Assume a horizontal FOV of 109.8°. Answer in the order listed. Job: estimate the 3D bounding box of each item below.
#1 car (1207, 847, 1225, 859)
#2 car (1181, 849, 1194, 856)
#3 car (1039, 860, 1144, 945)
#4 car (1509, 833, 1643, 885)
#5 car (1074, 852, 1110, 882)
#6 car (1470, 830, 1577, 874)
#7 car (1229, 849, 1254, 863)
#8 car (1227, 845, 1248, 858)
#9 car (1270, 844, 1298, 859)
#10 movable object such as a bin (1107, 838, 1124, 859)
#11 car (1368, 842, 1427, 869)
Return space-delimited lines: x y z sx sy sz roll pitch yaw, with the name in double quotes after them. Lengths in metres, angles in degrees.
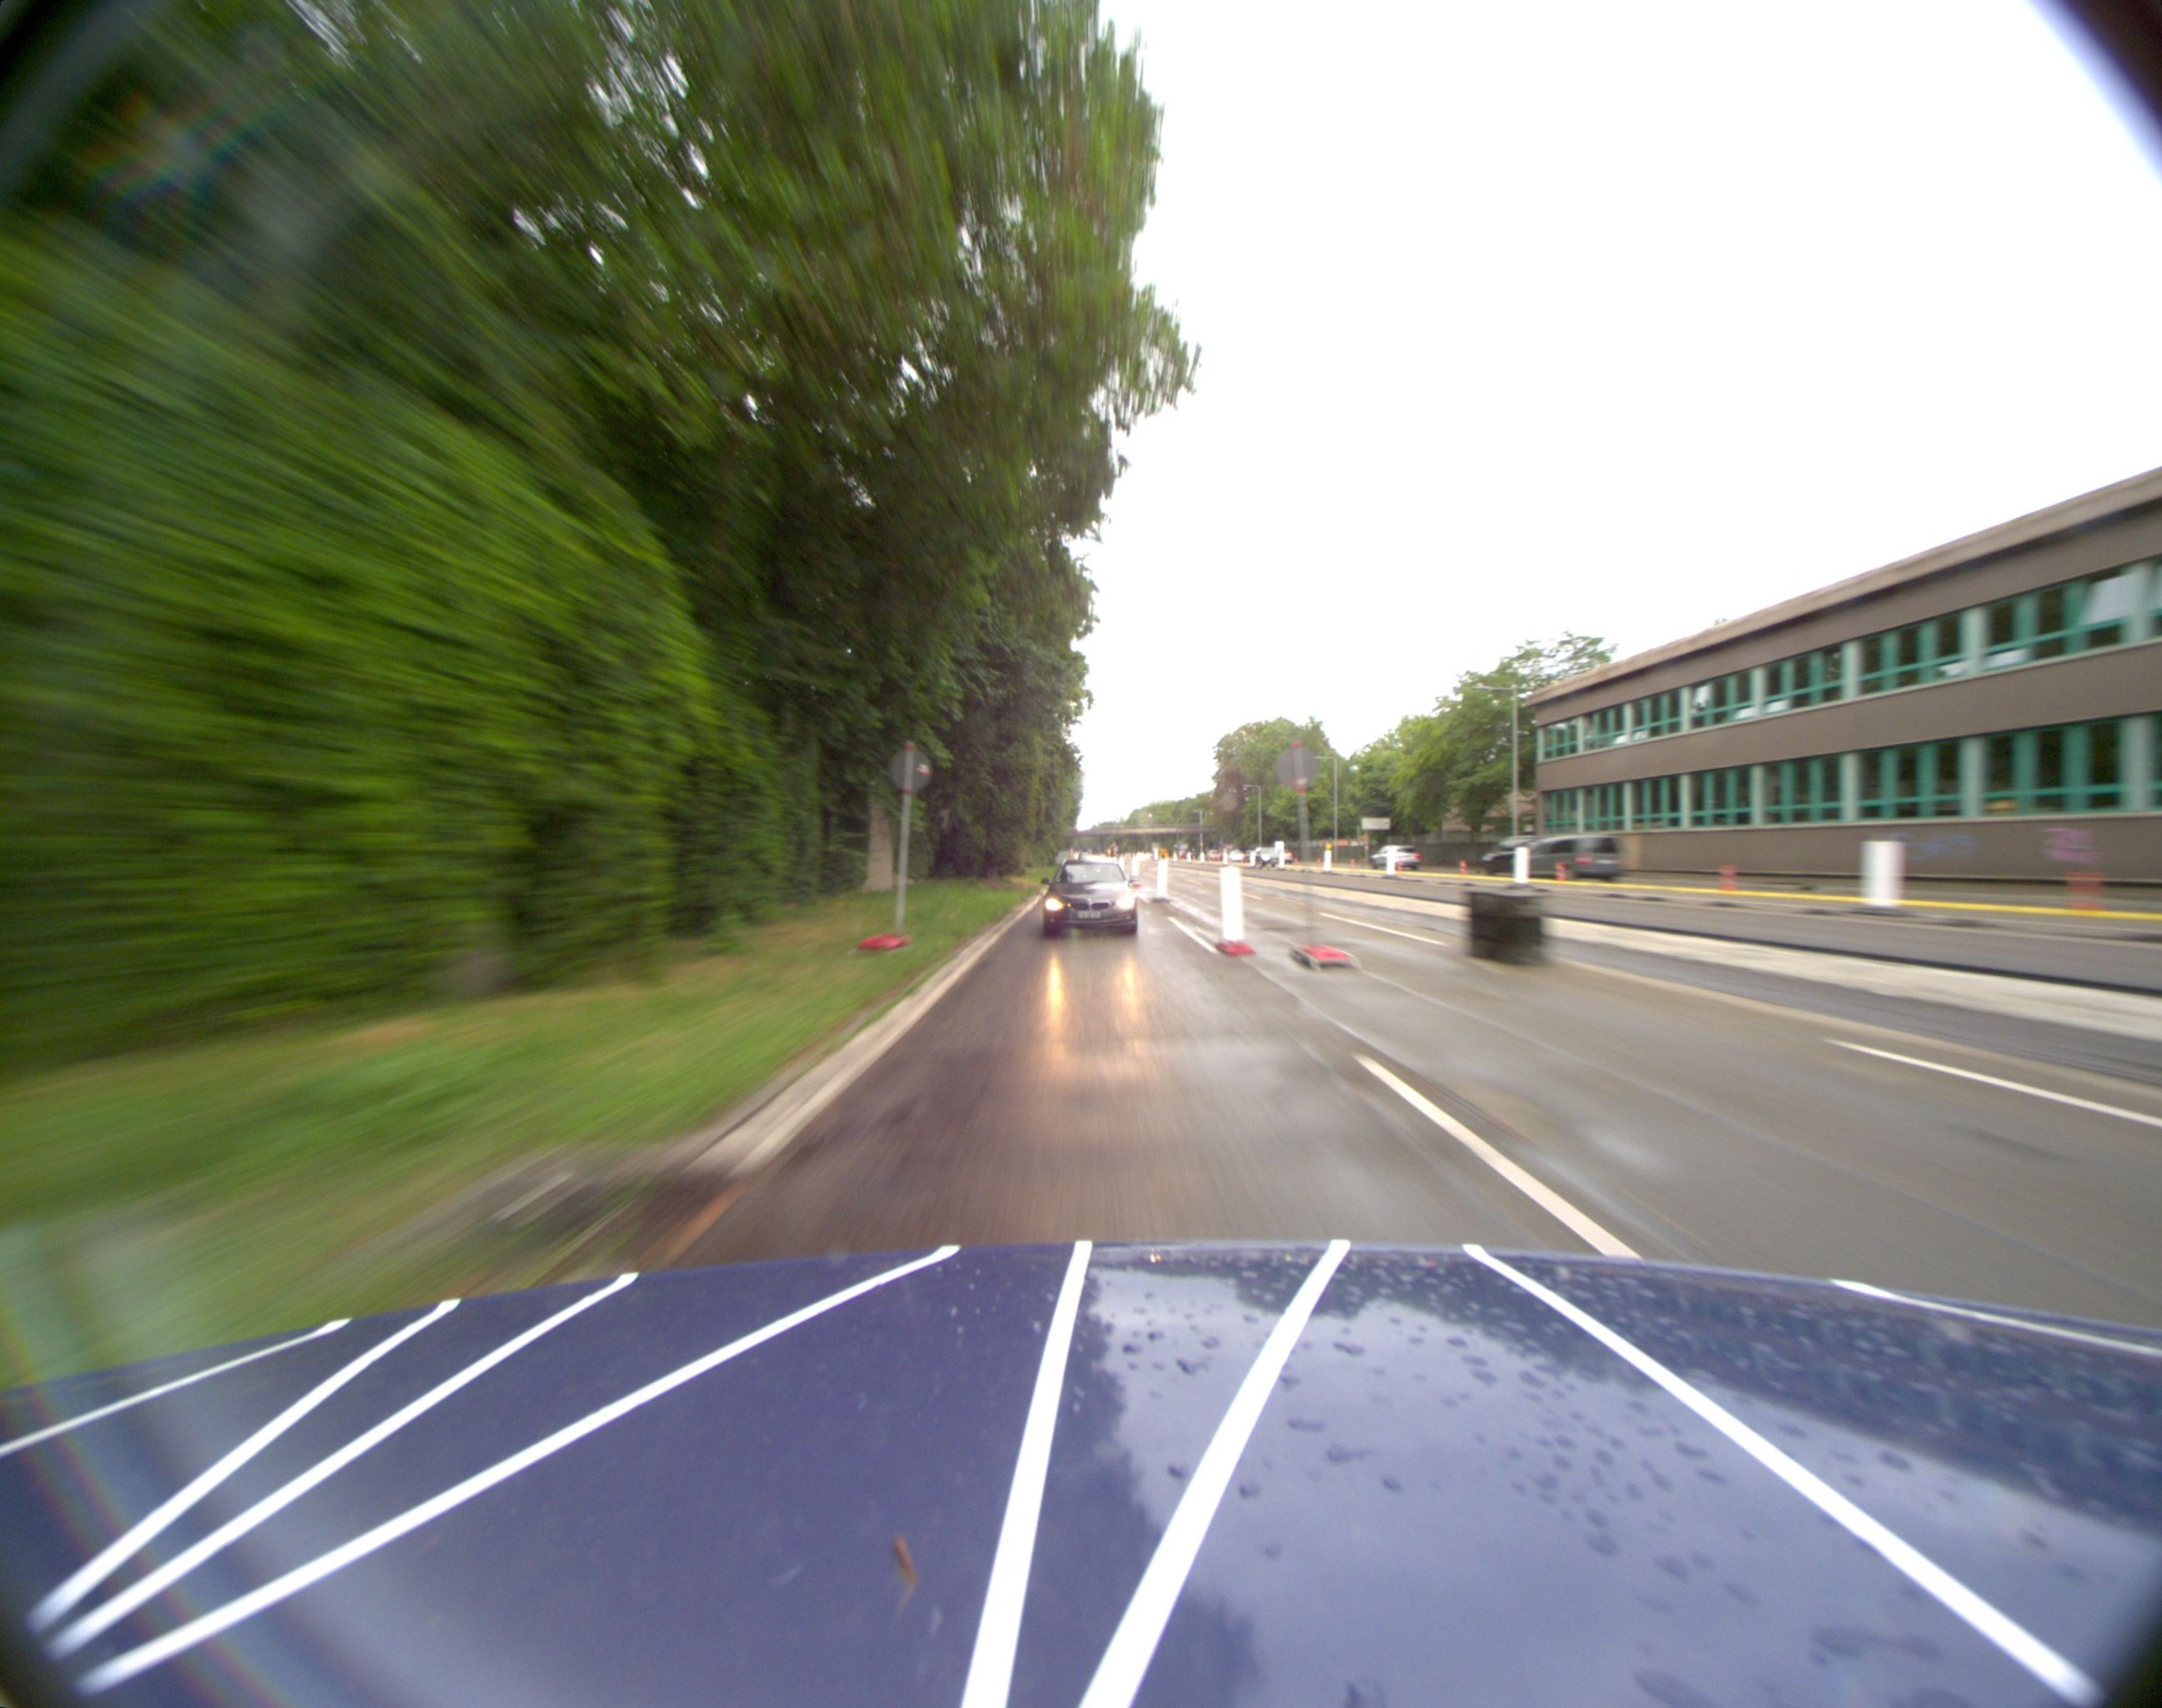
19.739 -0.169 111.152 1.993 1.758 4.674 -2 1 2 "car"
22.903 -0.346 163.716 1.999 1.421 4.264 -2 0 -1 "car"
0.147 0.887 15.603 1.838 1.397 3.999 -2 1 -1 "car"
19.014 0.156 29.520 1.998 1.770 4.954 -2 1 1 "car"
0.643 0.725 45.828 1.998 1.650 4.229 -2 1 0 "car"
21.357 -0.107 36.955 1.999 1.908 5.363 -2 1 -1 "car"
17.806 0.178 84.302 1.898 1.493 4.516 -2 1 2 "car"
19.627 -0.325 95.456 1.808 1.525 3.991 -2 1 0 "car"
22.533 -0.322 84.440 1.998 1.577 4.178 -2 1 0 "car"
7.865 -1.349 173.927 3.526 4.495 10.068 -2 1 0 "movable object such as a bin"
21.675 0.085 52.277 1.943 1.696 4.934 -2 1 -1 "car"
